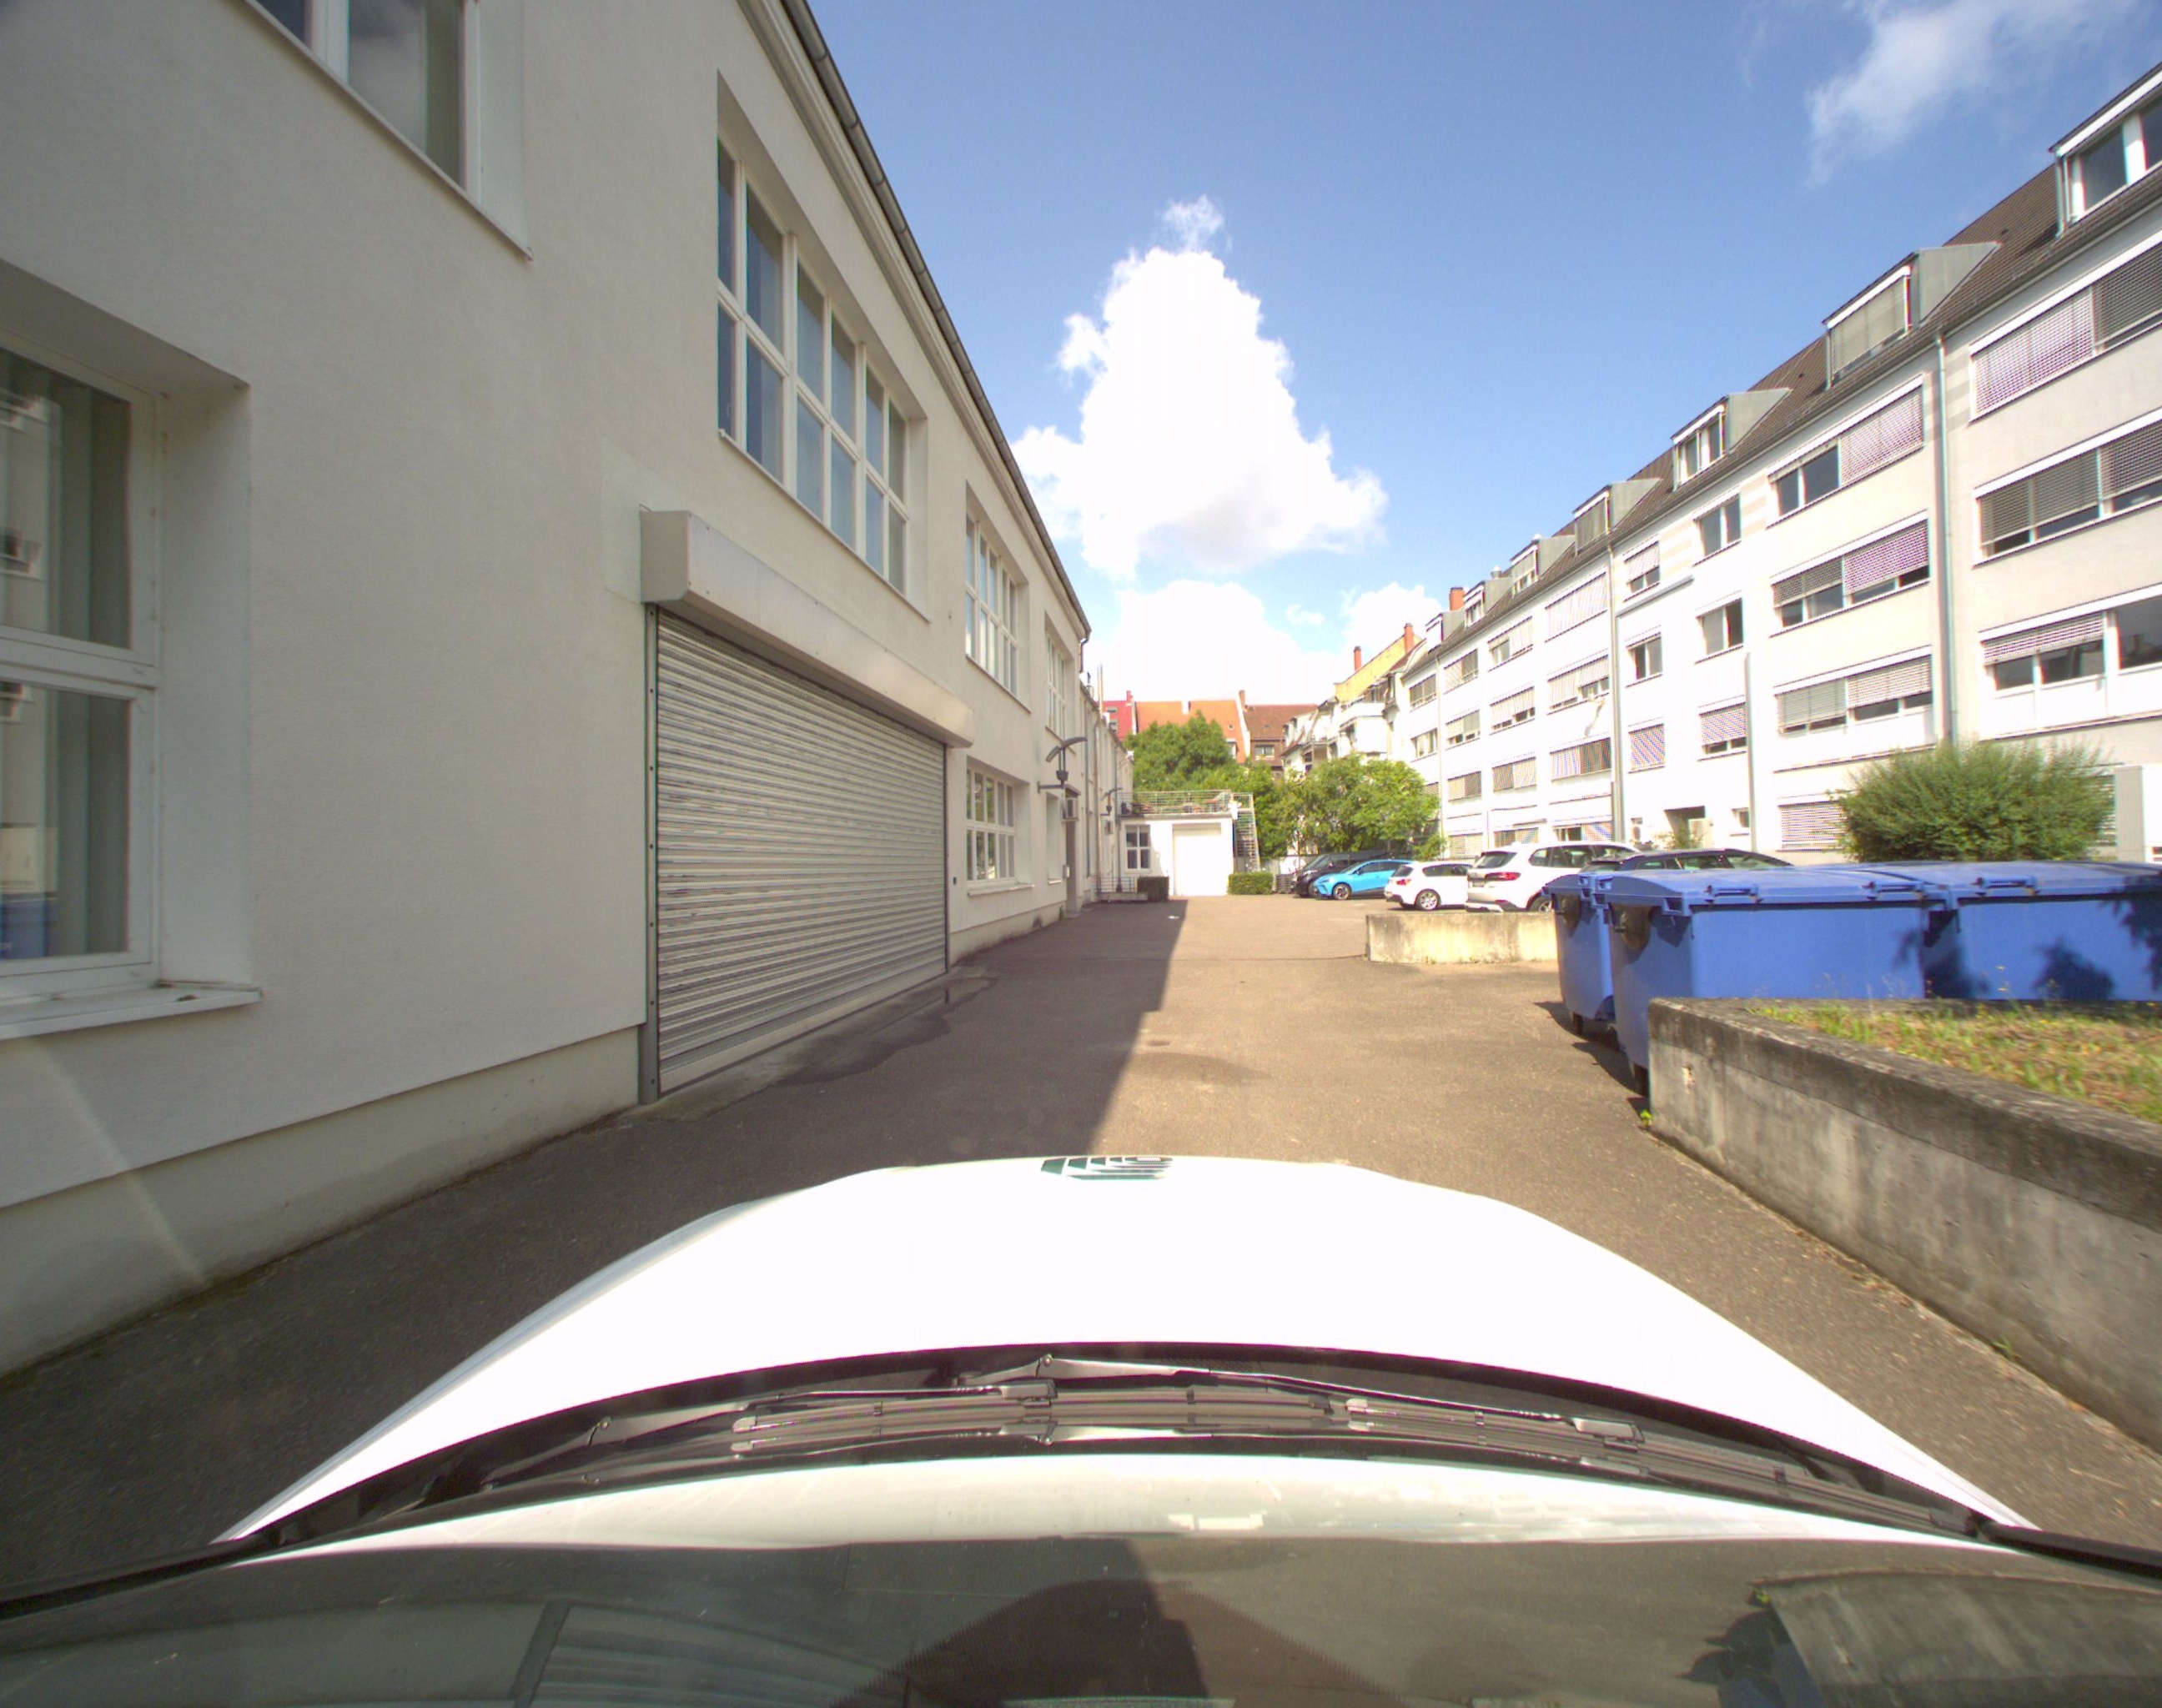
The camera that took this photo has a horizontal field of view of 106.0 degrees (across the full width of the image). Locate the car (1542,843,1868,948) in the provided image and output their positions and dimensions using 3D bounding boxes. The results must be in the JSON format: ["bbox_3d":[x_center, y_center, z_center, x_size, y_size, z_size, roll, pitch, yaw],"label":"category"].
[{"bbox_3d":[10.273,0.635,13.662,4.096,1.606,1.756,0,1,2],"label":"car"}]

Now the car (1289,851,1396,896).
[{"bbox_3d":[10.906,0.789,34.151,3.971,1.817,1.665,0,1,2],"label":"car"}]

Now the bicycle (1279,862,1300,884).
[{"bbox_3d":[11.229,0.995,43.891,0.639,1.117,1.858,0,1,-1],"label":"bicycle"}]

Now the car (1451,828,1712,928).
[{"bbox_3d":[9.788,0.429,16.181,3.971,1.745,1.951,-2,1,2],"label":"car"}]

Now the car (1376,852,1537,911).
[{"bbox_3d":[10.956,0.793,23.959,3.971,1.444,1.630,-3,2,2],"label":"car"}]

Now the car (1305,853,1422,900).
[{"bbox_3d":[10.840,0.840,31.455,3.971,1.573,1.630,-2,2,2],"label":"car"}]
